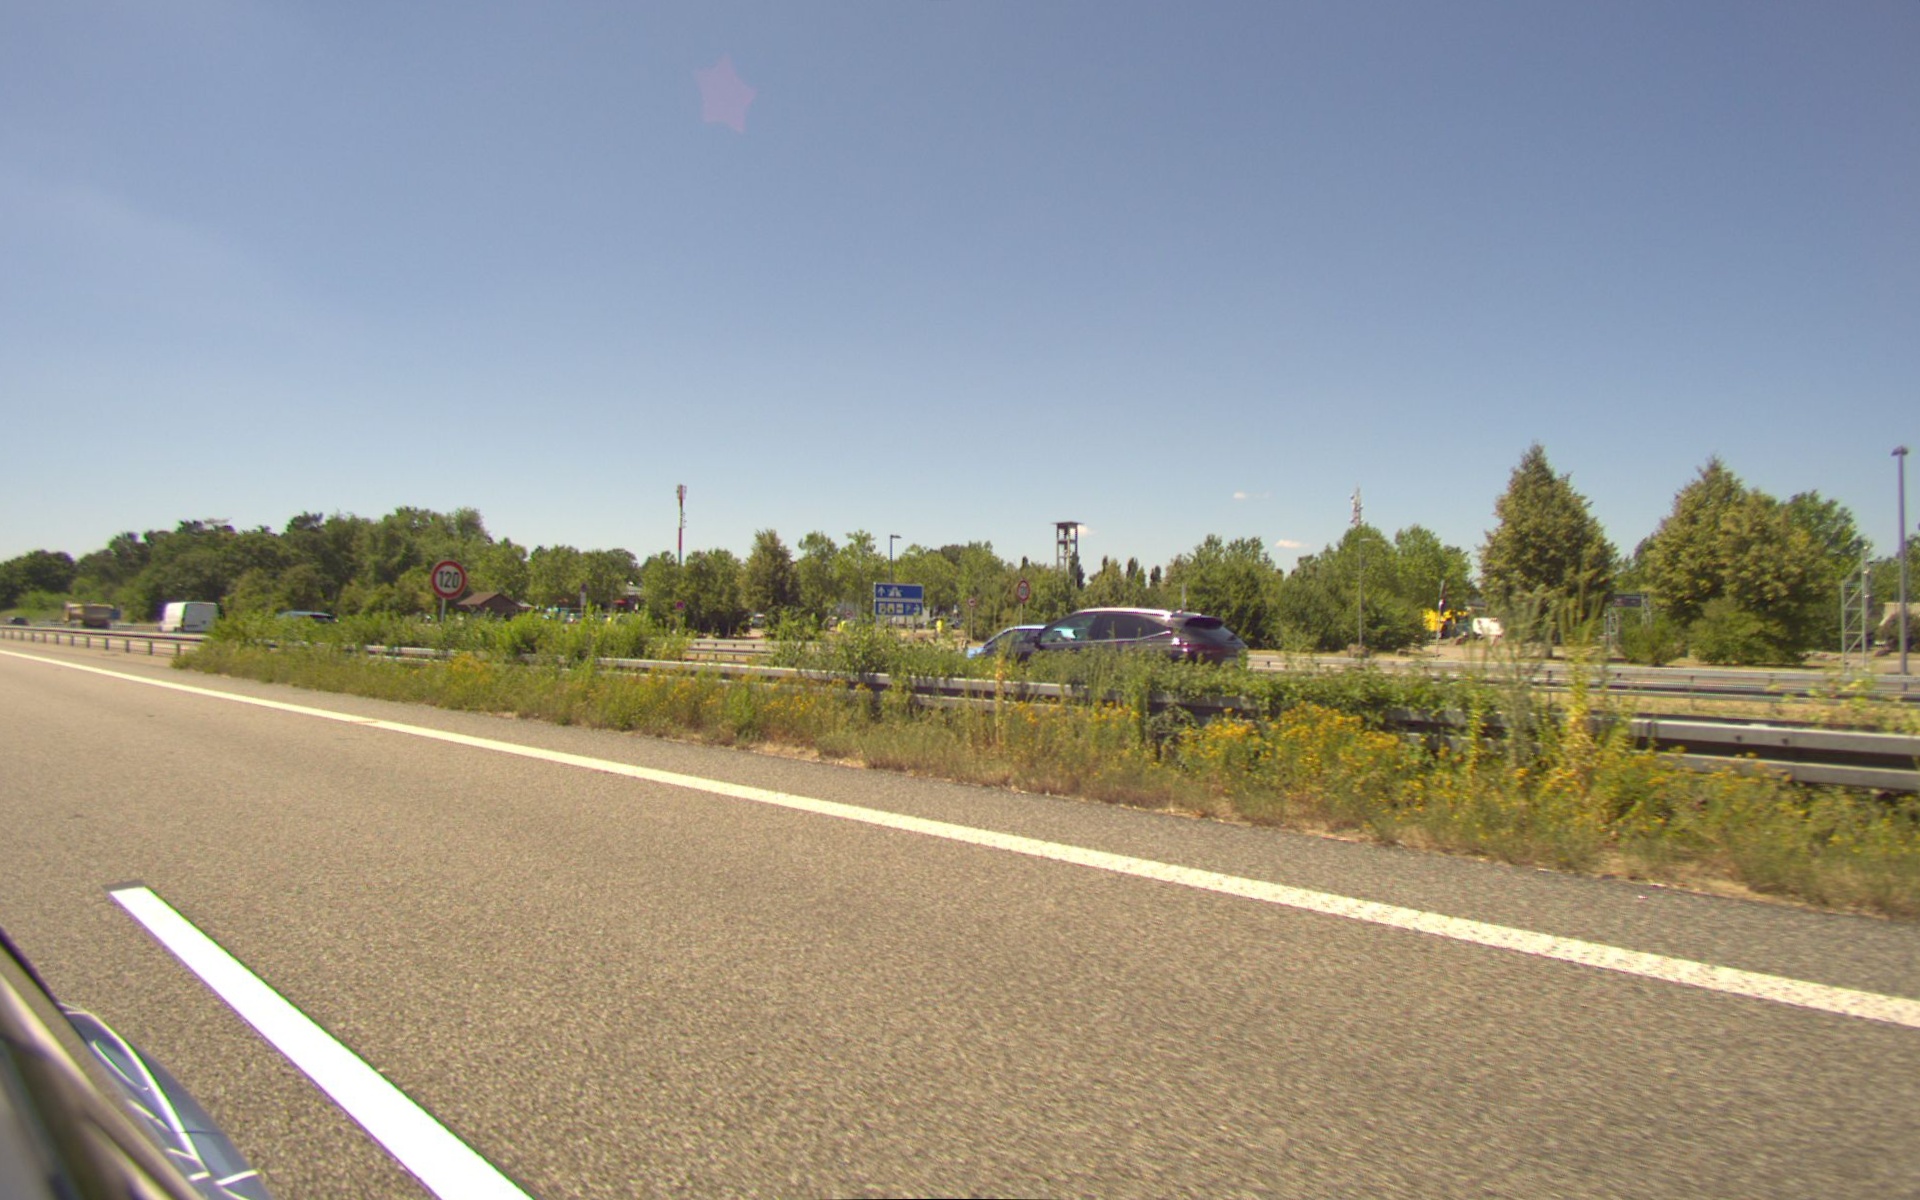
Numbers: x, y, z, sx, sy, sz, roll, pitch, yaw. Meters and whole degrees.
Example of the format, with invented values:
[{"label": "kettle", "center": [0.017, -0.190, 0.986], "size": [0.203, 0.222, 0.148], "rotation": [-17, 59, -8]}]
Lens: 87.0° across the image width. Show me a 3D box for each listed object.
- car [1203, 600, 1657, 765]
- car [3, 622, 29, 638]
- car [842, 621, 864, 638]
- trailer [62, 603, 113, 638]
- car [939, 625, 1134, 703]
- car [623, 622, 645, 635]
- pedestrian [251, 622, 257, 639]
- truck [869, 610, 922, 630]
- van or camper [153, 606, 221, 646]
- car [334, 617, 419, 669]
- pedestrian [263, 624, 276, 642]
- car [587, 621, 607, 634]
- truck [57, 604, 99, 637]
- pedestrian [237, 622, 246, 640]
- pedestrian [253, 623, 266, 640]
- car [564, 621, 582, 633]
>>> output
[{"label": "car", "center": [5.504, 0.871, 12.279], "size": [4.694, 1.635, 1.786], "rotation": [-1, -3, 41]}, {"label": "car", "center": [-108.862, 3.387, 116.683], "size": [4.482, 1.727, 1.728], "rotation": [-1, 0, 41]}, {"label": "car", "center": [-11.089, 3.022, 104.681], "size": [1.521, 1.620, 3.289], "rotation": [-1, 0, -19]}, {"label": "trailer", "center": [-94.275, 2.191, 109.295], "size": [9.365, 3.542, 2.754], "rotation": [-1, 0, 41]}, {"label": "car", "center": [1.518, 1.261, 20.905], "size": [3.849, 1.435, 1.527], "rotation": [-1, -3, 40]}, {"label": "car", "center": [-42.843, 3.704, 133.133], "size": [1.542, 1.621, 3.433], "rotation": [-1, 0, 5]}, {"label": "pedestrian", "center": [-67.532, 2.931, 96.766], "size": [0.466, 1.619, 0.501], "rotation": [-1, 0, -35]}, {"label": "truck", "center": [-8.372, 2.601, 131.947], "size": [6.833, 2.511, 2.140], "rotation": [-1, 0, -1]}, {"label": "van or camper", "center": [-51.620, 1.693, 67.541], "size": [6.363, 2.601, 2.393], "rotation": [-1, -1, 41]}, {"label": "car", "center": [-20.851, 1.482, 36.122], "size": [3.590, 1.723, 1.684], "rotation": [-1, 0, 44]}, {"label": "pedestrian", "center": [-62.680, 2.977, 91.841], "size": [0.873, 1.619, 0.669], "rotation": [-1, 0, 34]}, {"label": "car", "center": [-49.705, 3.752, 138.650], "size": [1.479, 1.621, 3.107], "rotation": [-1, 0, 5]}, {"label": "truck", "center": [-98.459, 2.242, 112.932], "size": [5.642, 3.542, 2.754], "rotation": [-1, 0, 41]}, {"label": "pedestrian", "center": [-67.819, 2.944, 95.578], "size": [0.636, 1.619, 0.657], "rotation": [-1, 0, -38]}, {"label": "pedestrian", "center": [-66.639, 2.980, 96.305], "size": [0.757, 1.529, 0.749], "rotation": [-1, 0, 33]}, {"label": "car", "center": [-54.785, 3.811, 143.417], "size": [1.475, 1.621, 3.114], "rotation": [-1, 0, -2]}]
